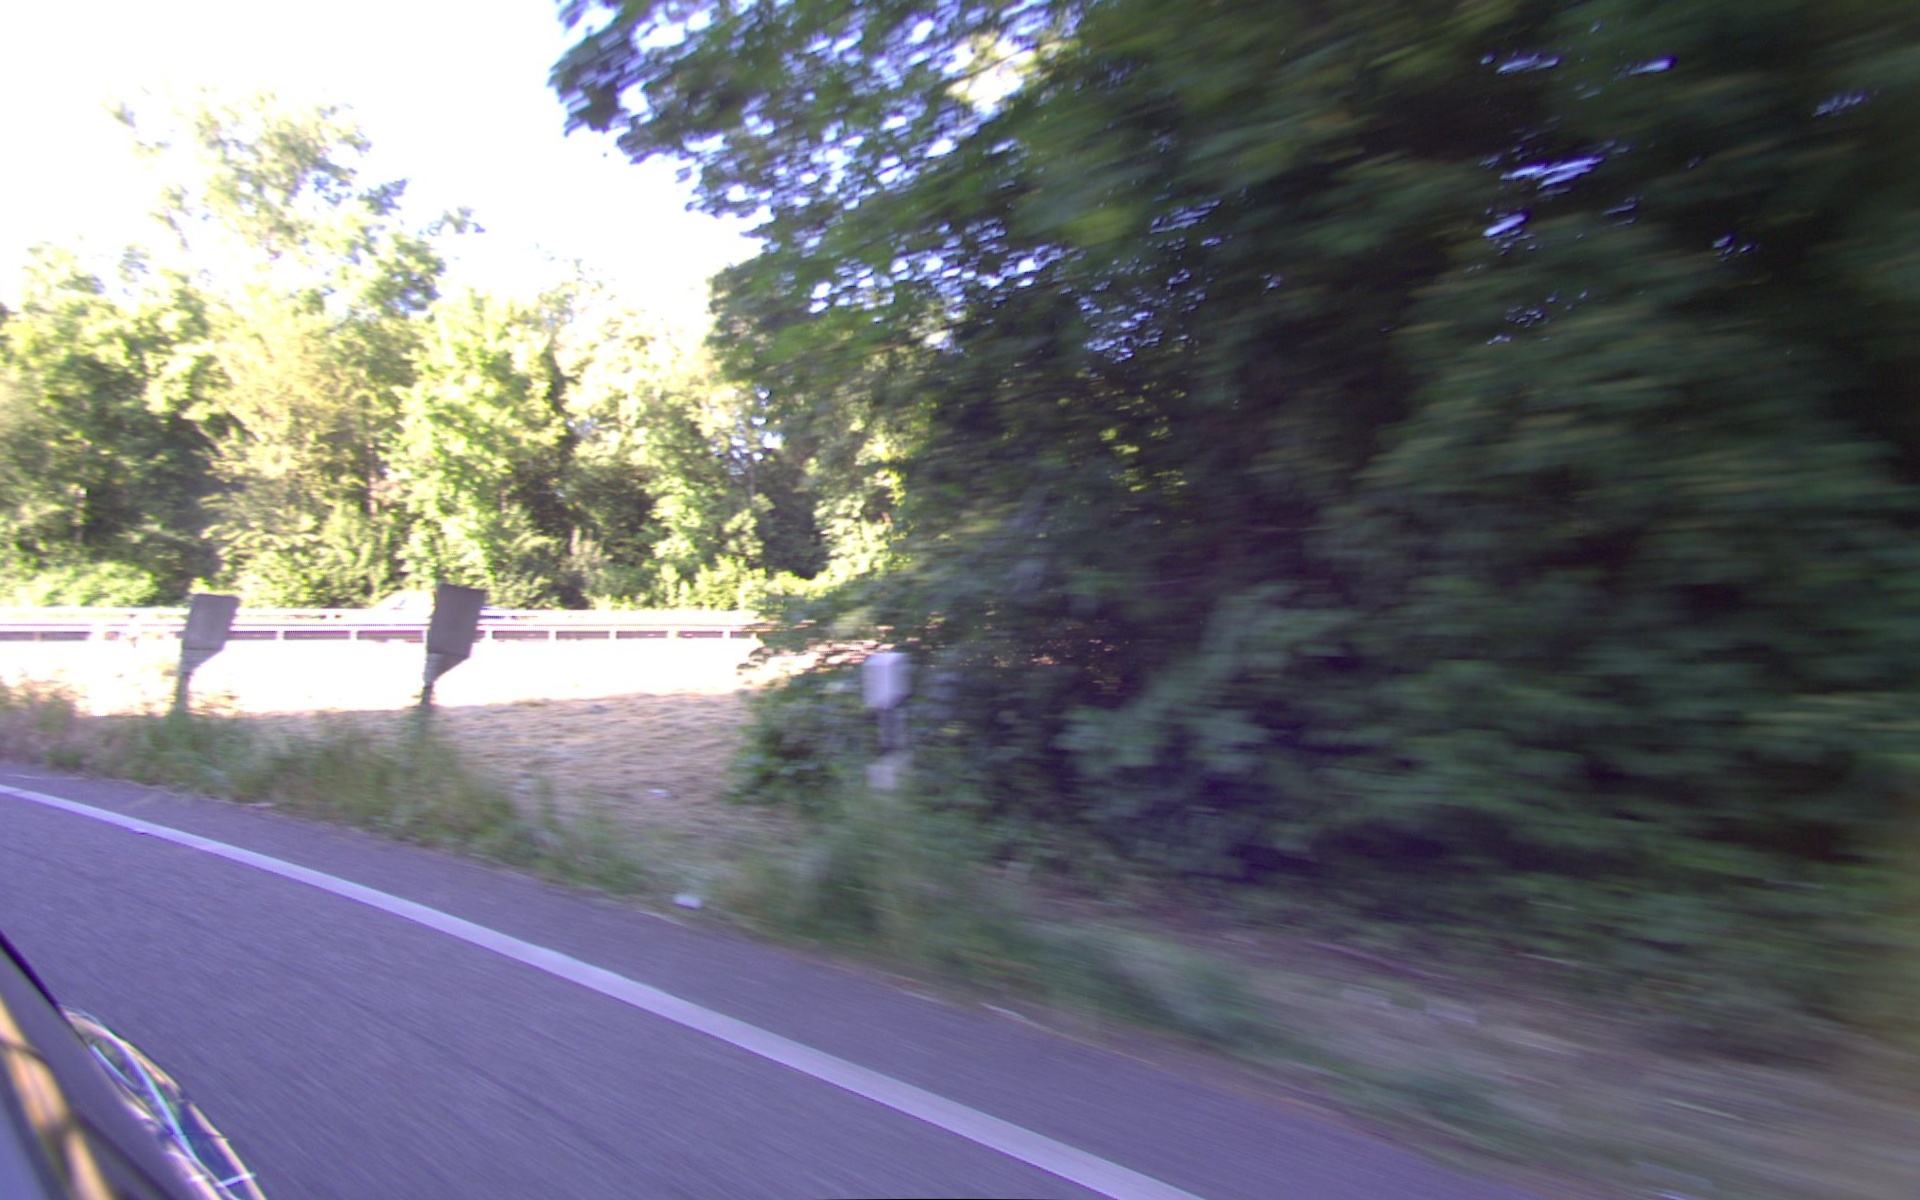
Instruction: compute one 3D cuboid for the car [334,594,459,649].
[{"bbox_3d":[-21.510,0.831,38.807,3.930,2.029,2.007,1,-1,-22],"label":"car"}]
